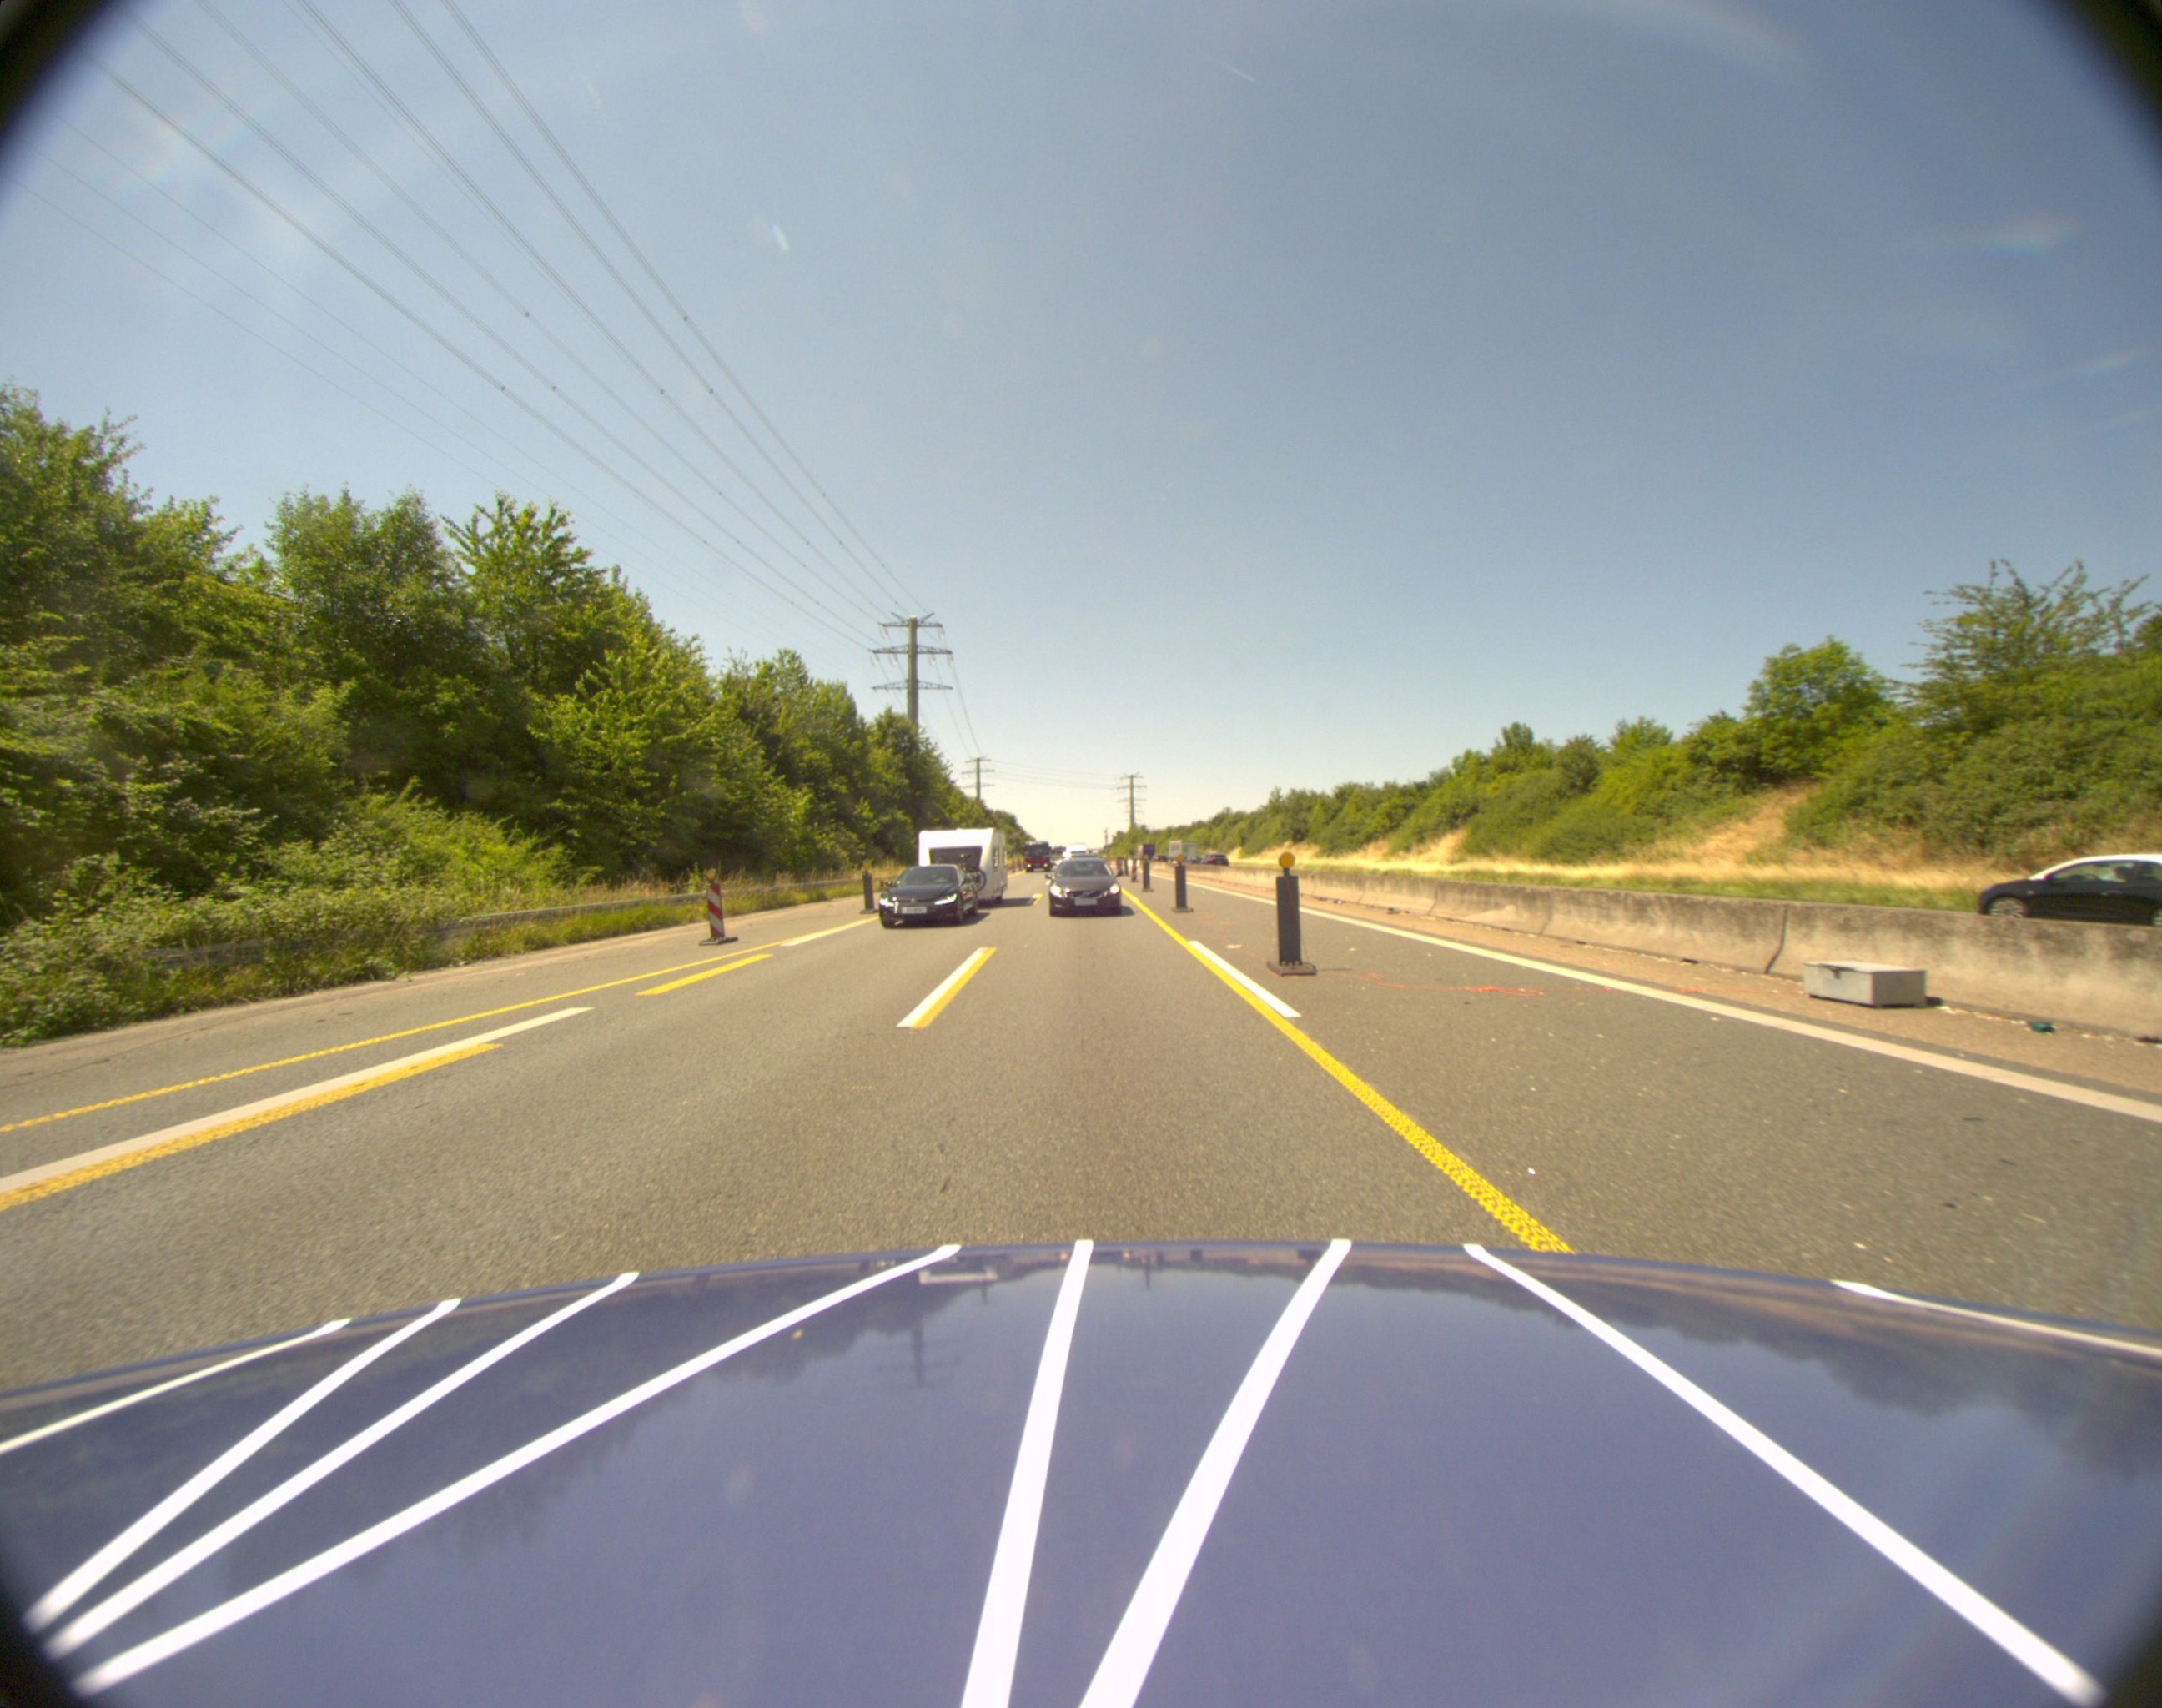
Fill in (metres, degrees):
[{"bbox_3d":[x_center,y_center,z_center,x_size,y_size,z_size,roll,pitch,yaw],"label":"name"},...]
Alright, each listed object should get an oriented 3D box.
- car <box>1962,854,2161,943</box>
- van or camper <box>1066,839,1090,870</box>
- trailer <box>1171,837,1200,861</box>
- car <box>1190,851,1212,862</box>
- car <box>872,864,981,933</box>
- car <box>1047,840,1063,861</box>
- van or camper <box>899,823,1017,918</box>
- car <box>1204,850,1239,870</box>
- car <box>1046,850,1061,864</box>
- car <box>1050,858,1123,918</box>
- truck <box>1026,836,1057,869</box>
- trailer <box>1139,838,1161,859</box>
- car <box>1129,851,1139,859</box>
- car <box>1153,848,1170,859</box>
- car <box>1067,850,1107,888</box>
[{"bbox_3d":[18.976,0.751,13.802,1.578,1.456,3.778,-1,0,0],"label":"car"},{"bbox_3d":[-0.225,0.019,67.119,1.998,2.604,5.629,0,0,1],"label":"van or camper"},{"bbox_3d":[18.166,-0.859,133.565,2.961,4.038,13.635,1,0,-1],"label":"trailer"},{"bbox_3d":[15.293,0.321,97.198,1.999,1.452,4.586,0,0,-1],"label":"car"},{"bbox_3d":[-3.699,1.008,18.917,1.800,1.399,4.209,-2,0,0],"label":"car"},{"bbox_3d":[-4.945,-0.707,144.833,2.397,3.779,10.272,-3,0,1],"label":"car"},{"bbox_3d":[-3.755,0.454,25.249,2.432,2.549,8.417,-2,0,0],"label":"van or camper"},{"bbox_3d":[11.353,0.458,61.600,1.998,1.591,4.582,0,0,0],"label":"car"},{"bbox_3d":[-3.818,0.399,105.873,1.850,1.810,3.925,-3,0,0],"label":"car"},{"bbox_3d":[0.180,0.873,21.231,1.798,1.433,4.000,-2,0,1],"label":"car"},{"bbox_3d":[-4.034,-0.132,79.281,2.431,3.122,7.648,-4,0,2],"label":"truck"},{"bbox_3d":[14.535,-1.183,161.834,3.168,4.155,13.681,0,0,-1],"label":"trailer"},{"bbox_3d":[9.924,0.207,142.305,1.620,1.433,3.989,0,0,0],"label":"car"},{"bbox_3d":[10.886,-0.120,102.991,1.853,1.452,4.488,0,0,-1],"label":"car"},{"bbox_3d":[0.342,0.674,36.560,1.675,1.619,4.691,-3,0,2],"label":"car"}]
